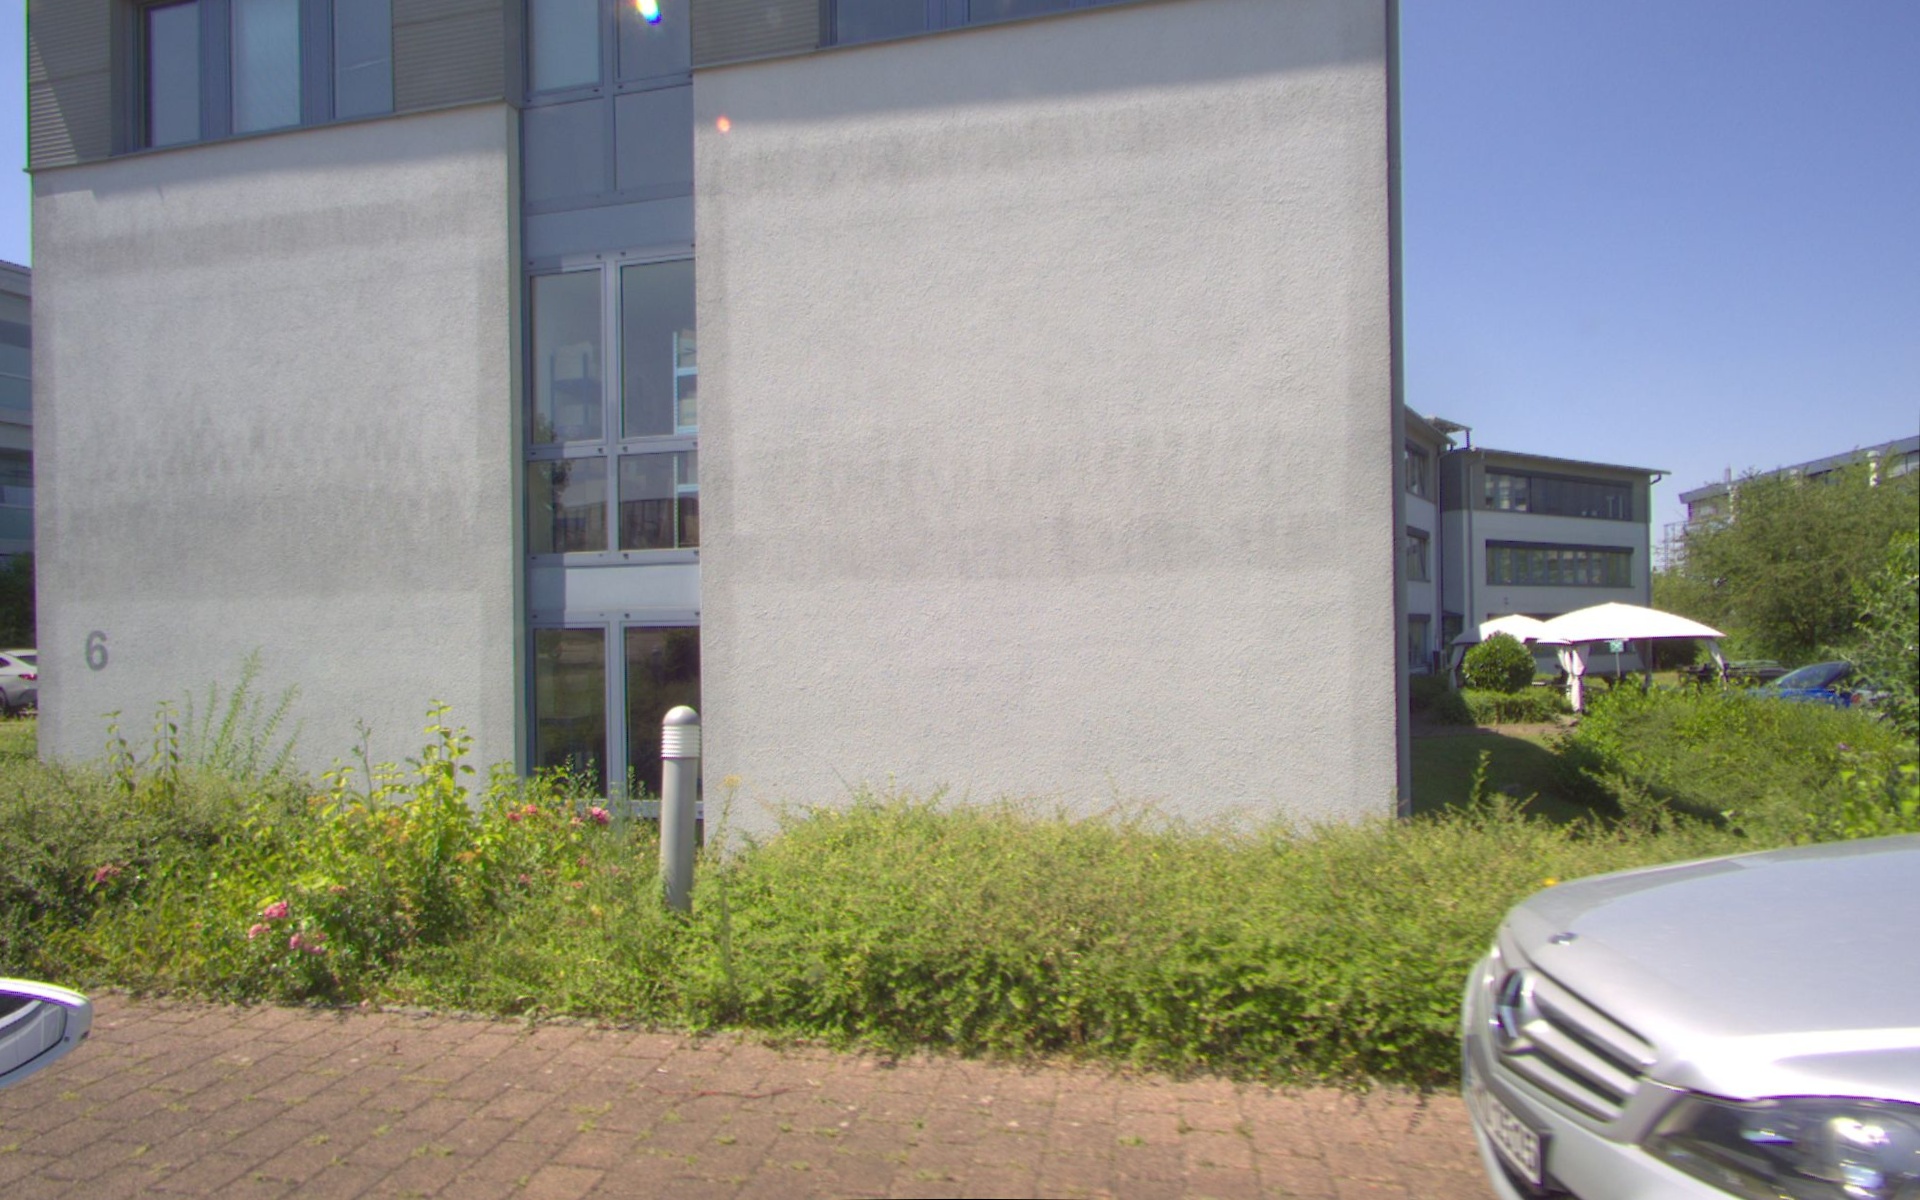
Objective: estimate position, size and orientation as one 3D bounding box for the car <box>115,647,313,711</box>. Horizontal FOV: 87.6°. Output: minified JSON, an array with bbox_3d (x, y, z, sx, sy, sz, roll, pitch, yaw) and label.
[{"bbox_3d":[-18.943,1.961,25.448,4.466,1.465,1.740,0,-3,18],"label":"car"}]

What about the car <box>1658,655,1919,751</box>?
[{"bbox_3d":[14.837,1.707,17.002,4.524,1.512,1.857,0,-3,9],"label":"car"}]

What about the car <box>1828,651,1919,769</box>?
[{"bbox_3d":[14.741,1.464,13.407,4.343,1.538,1.857,0,-3,9],"label":"car"}]

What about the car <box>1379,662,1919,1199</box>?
[{"bbox_3d":[3.252,0.839,1.797,4.337,1.416,1.805,-1,-2,13],"label":"car"}]

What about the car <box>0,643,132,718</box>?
[{"bbox_3d":[-19.996,1.652,21.197,4.261,1.447,1.740,0,-3,18],"label":"car"}]

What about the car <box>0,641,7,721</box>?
[{"bbox_3d":[-20.431,1.479,18.531,4.256,1.510,1.742,1,-3,8],"label":"car"}]
